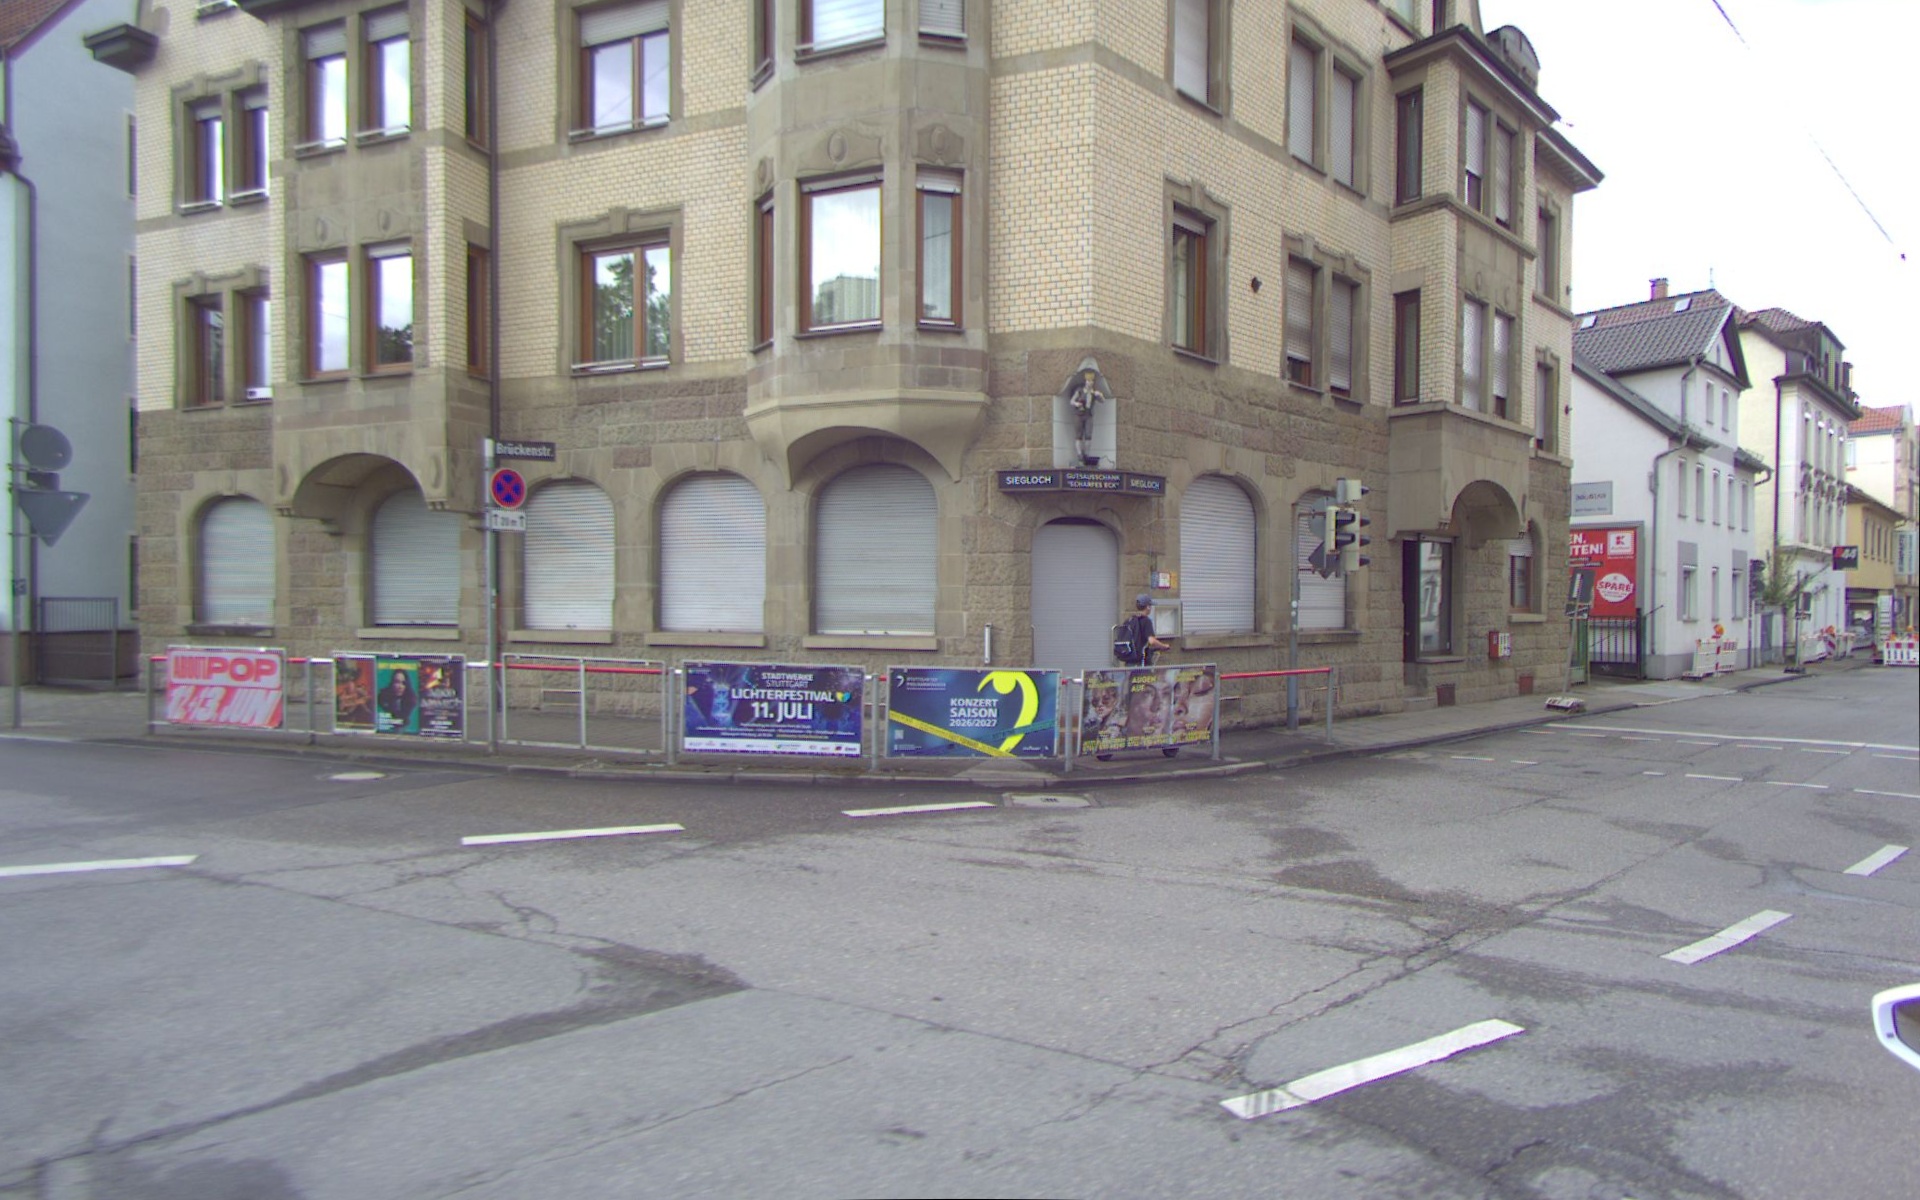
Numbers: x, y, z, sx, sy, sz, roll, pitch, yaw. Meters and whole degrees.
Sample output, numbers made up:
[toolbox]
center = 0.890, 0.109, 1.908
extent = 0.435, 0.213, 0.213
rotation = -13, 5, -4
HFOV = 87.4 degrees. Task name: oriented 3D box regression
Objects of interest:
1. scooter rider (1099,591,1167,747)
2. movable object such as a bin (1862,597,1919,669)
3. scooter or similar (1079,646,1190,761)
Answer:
[scooter rider]
center = 1.969, 0.774, 11.465
extent = 0.569, 1.728, 0.486
rotation = 2, 0, -22
[movable object such as a bin]
center = 39.684, 1.368, 41.951
extent = 4.505, 2.862, 2.514
rotation = 1, -2, -42
[scooter or similar]
center = 1.997, 1.162, 11.483
extent = 1.208, 1.258, 0.377
rotation = 1, 0, -22
